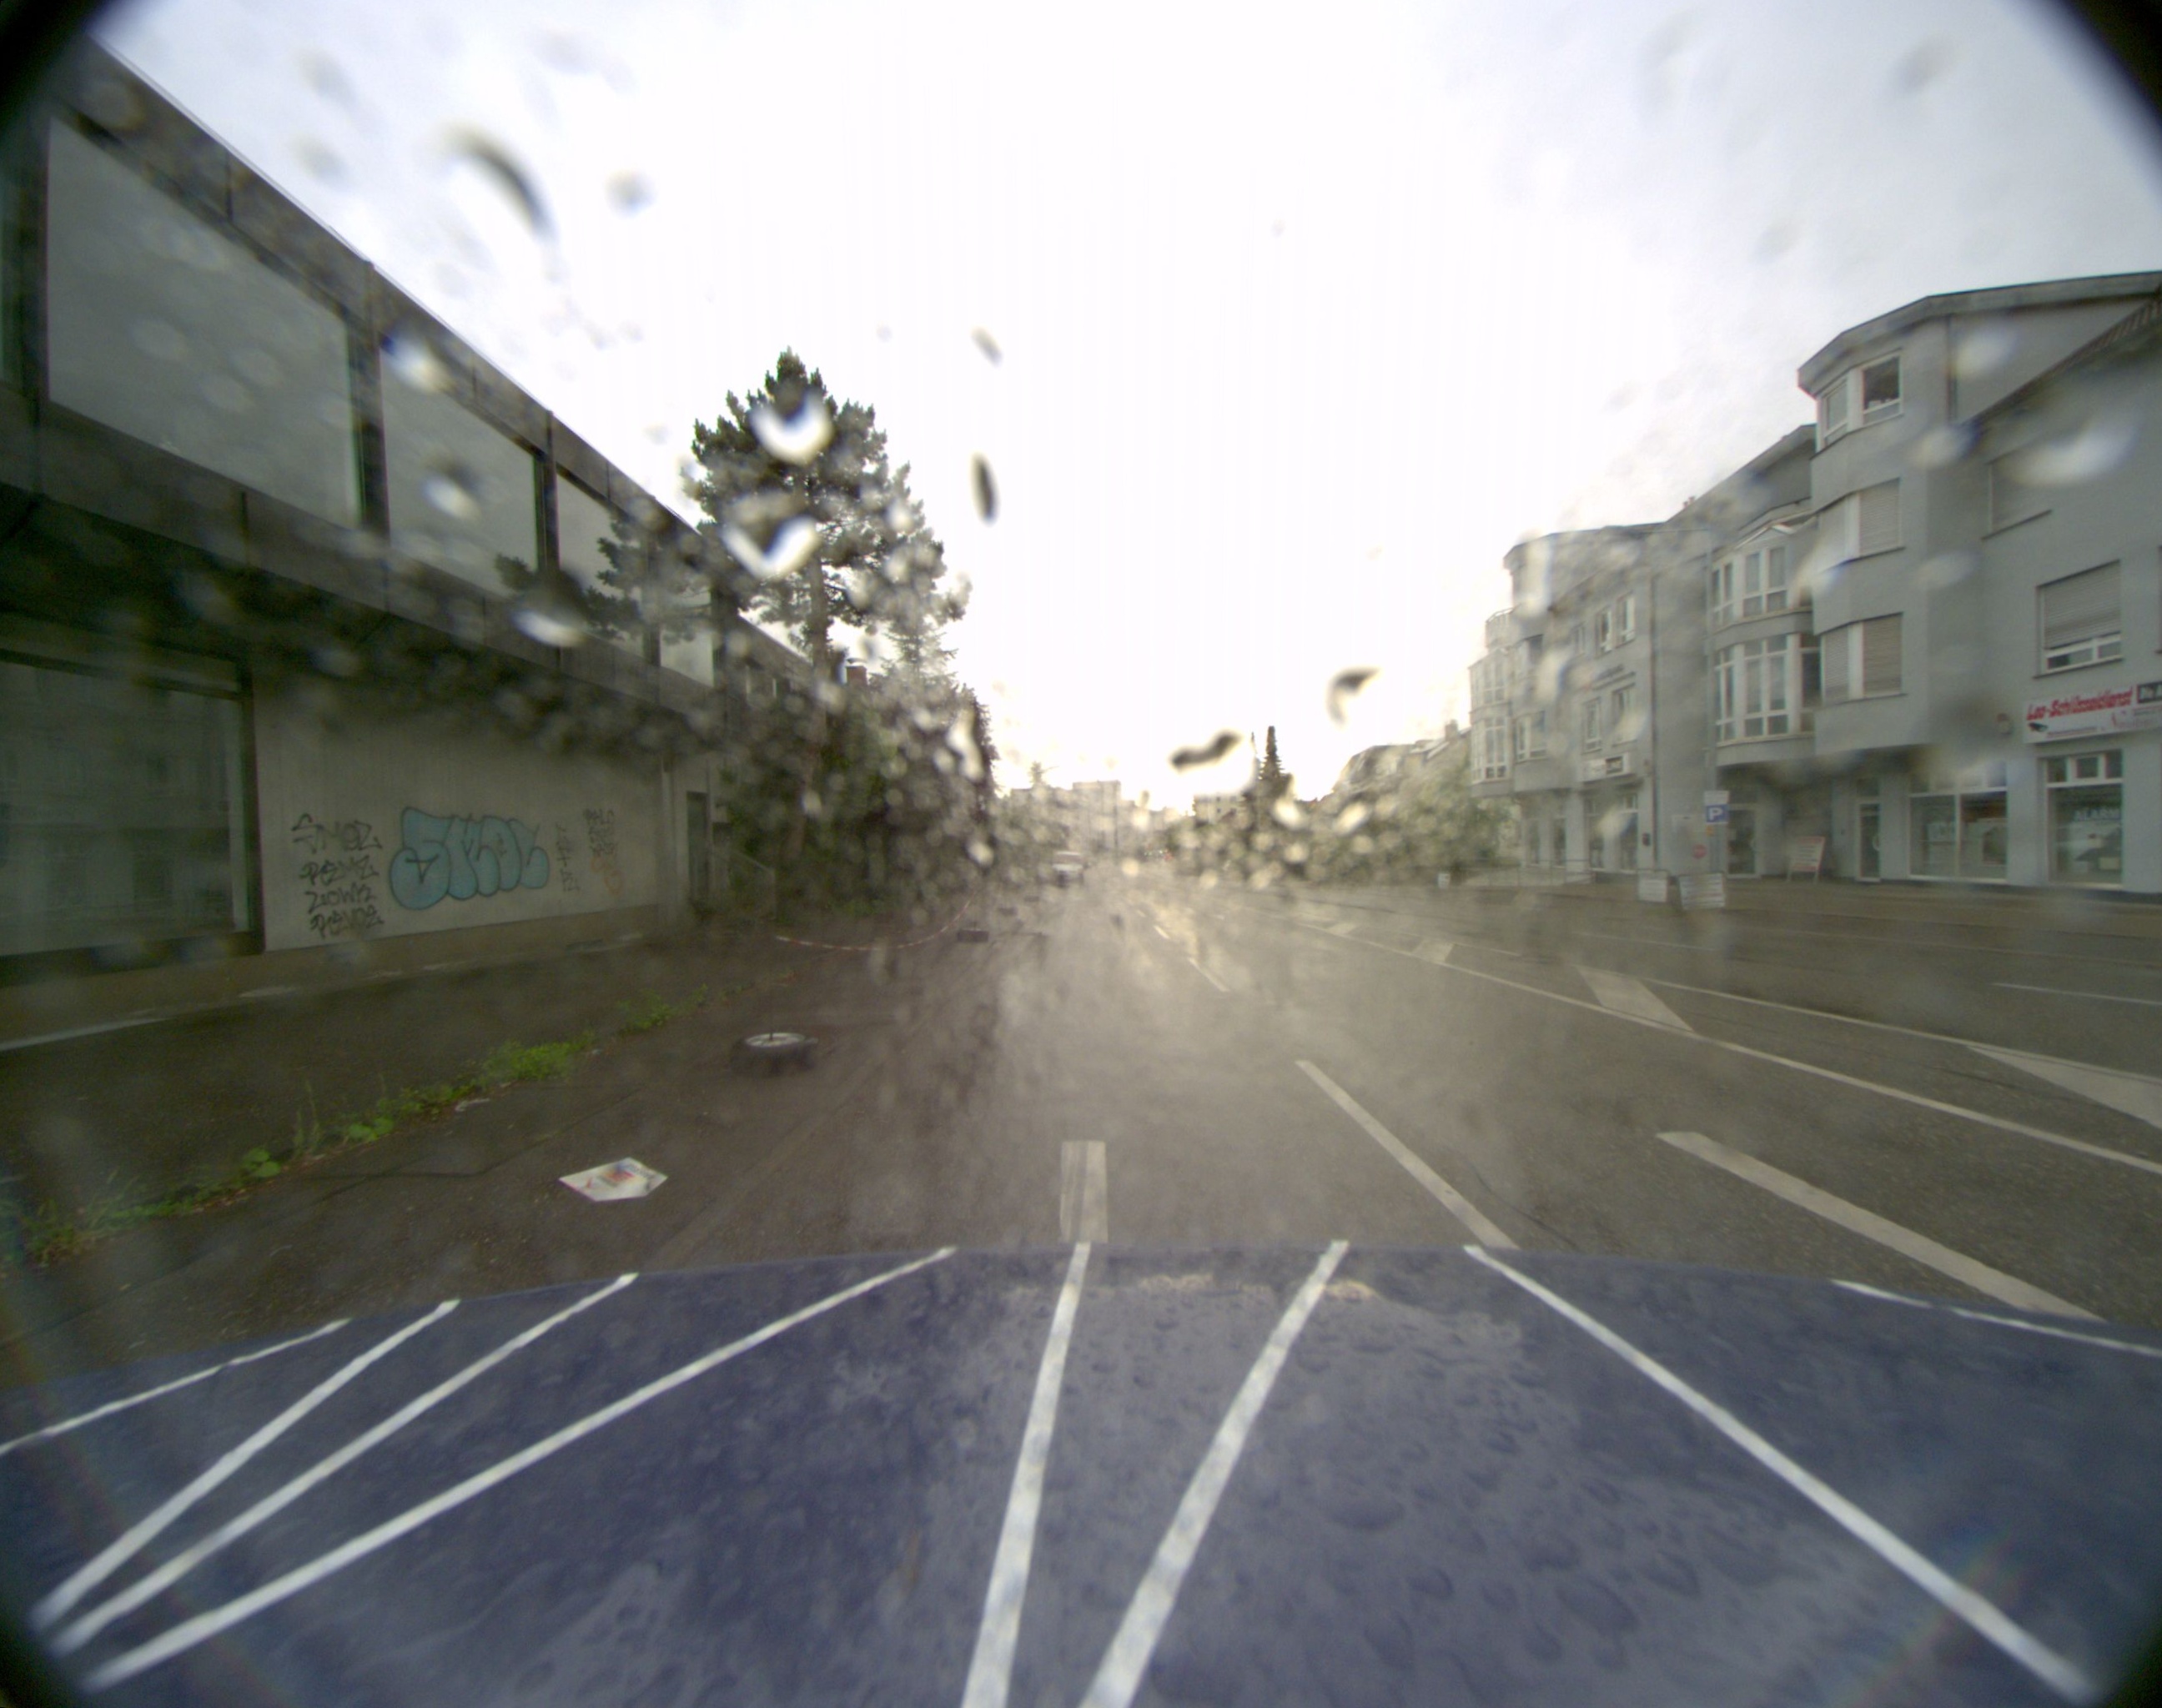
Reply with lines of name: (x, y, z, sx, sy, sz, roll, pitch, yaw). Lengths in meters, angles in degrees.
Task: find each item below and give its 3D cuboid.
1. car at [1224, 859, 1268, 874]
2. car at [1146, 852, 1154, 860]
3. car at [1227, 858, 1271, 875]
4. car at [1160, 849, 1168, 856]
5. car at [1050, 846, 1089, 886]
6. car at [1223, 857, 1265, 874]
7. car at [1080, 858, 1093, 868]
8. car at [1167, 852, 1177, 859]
car: (16.895, 1.267, 77.992, 4.155, 1.433, 1.891, -2, 0, 8)
car: (16.627, 0.453, 182.058, 1.851, 1.870, 4.123, -1, 0, 5)
car: (16.673, 1.237, 75.508, 4.034, 1.433, 1.813, -2, 0, 6)
car: (23.211, -0.449, 212.385, 1.850, 1.753, 4.125, -1, 0, 11)
car: (-0.673, 0.746, 49.485, 2.397, 2.417, 6.433, 0, 0, 0)
car: (17.292, 1.213, 80.706, 4.114, 1.536, 2.001, -2, 0, 6)
car: (0.989, 1.576, 131.685, 1.912, 1.622, 3.704, -1, 0, 5)
car: (21.374, 0.432, 178.437, 1.997, 1.606, 4.004, -1, 0, 11)
